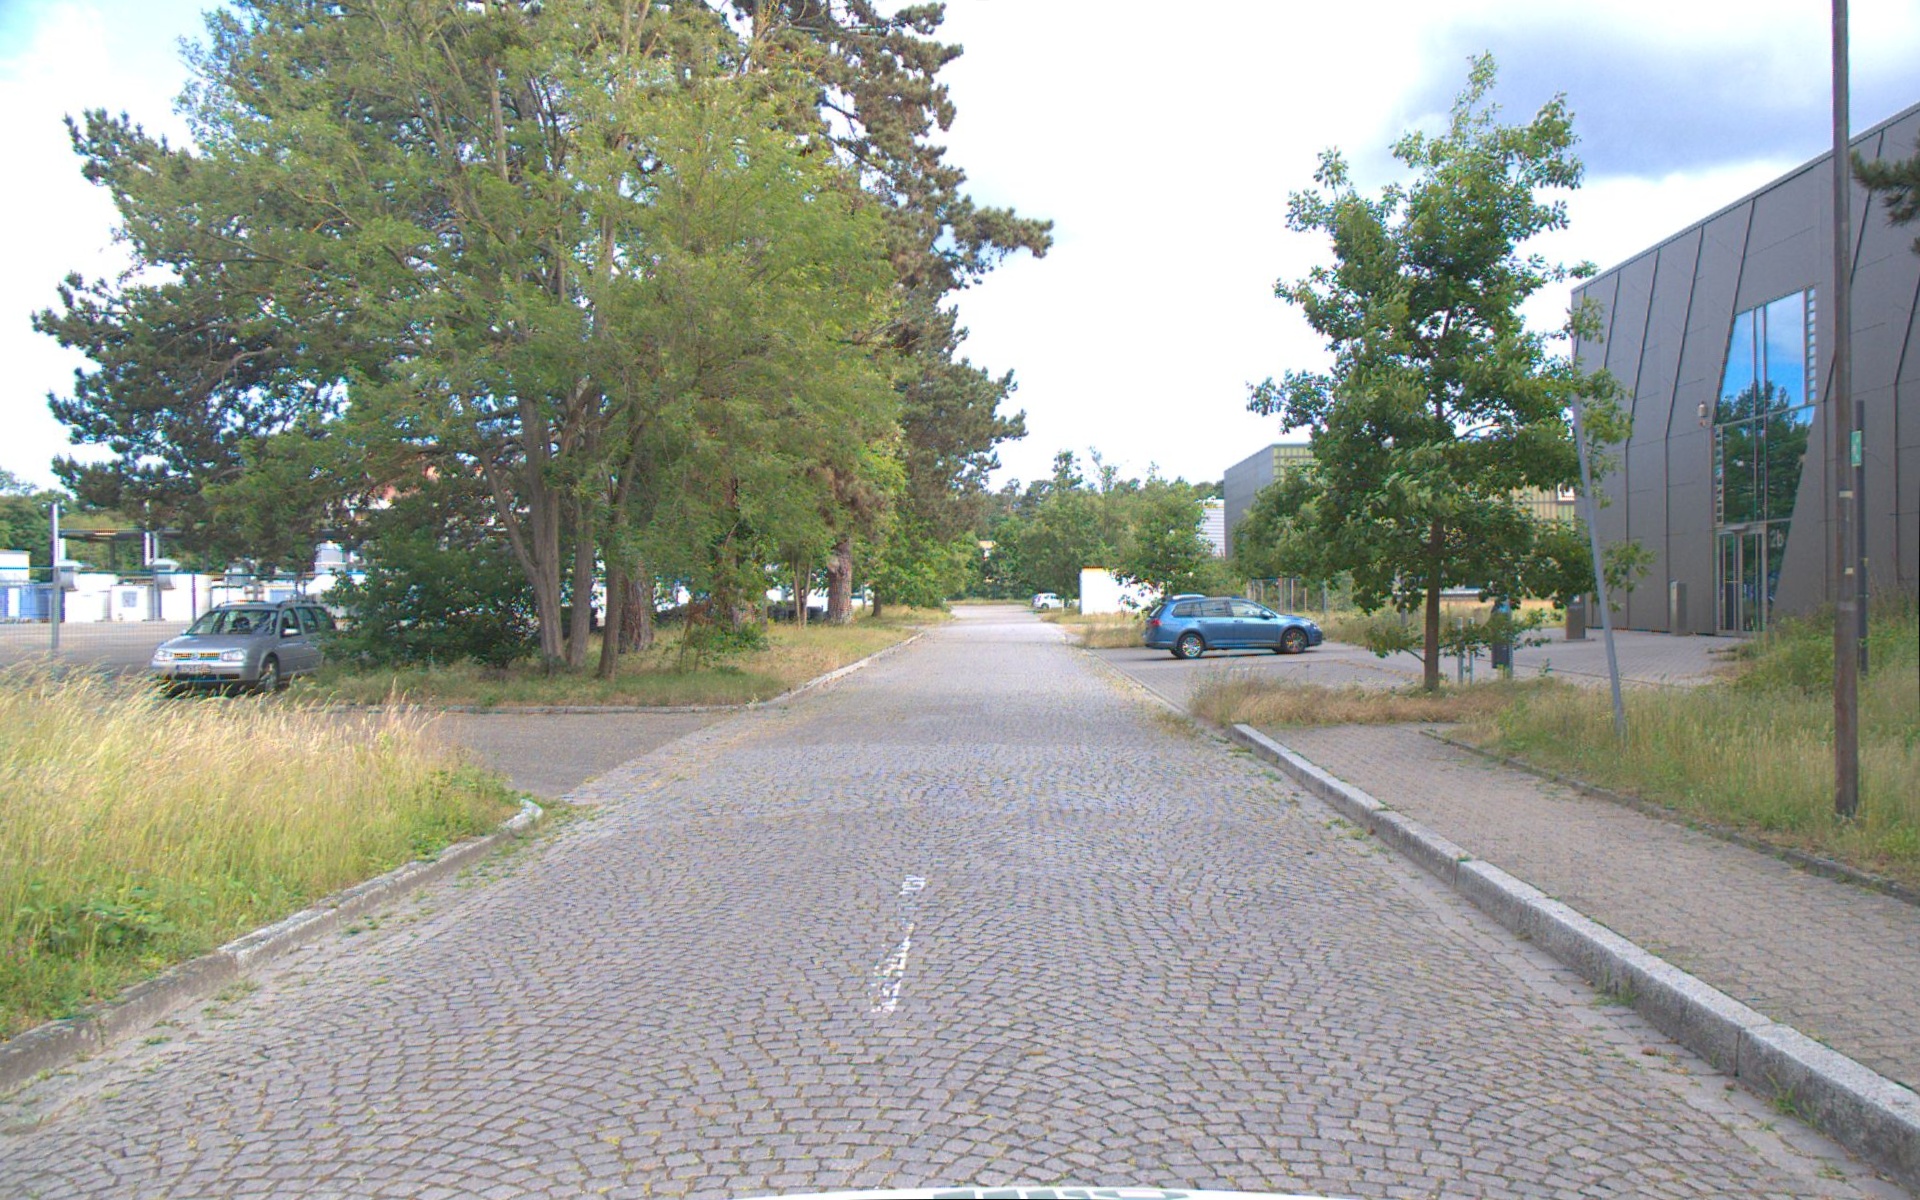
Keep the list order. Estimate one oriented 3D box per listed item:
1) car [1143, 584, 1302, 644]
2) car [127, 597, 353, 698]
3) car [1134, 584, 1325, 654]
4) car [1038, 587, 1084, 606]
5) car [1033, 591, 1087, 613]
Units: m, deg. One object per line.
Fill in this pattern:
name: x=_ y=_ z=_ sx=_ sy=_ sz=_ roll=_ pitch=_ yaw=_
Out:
car: x=7.737 y=0.397 z=49.087 sx=4.424 sy=1.558 sz=2.001 roll=-2 pitch=0 yaw=2
car: x=-11.740 y=0.714 z=27.333 sx=1.880 sy=1.502 sz=4.368 roll=-1 pitch=0 yaw=-1
car: x=6.743 y=0.457 z=41.739 sx=4.427 sy=1.558 sz=1.999 roll=-2 pitch=0 yaw=-2
car: x=9.542 y=-0.332 z=156.298 sx=4.264 sy=1.811 sz=1.926 roll=-1 pitch=0 yaw=3
car: x=8.156 y=0.164 z=135.323 sx=4.265 sy=1.717 sz=1.925 roll=-1 pitch=0 yaw=0
